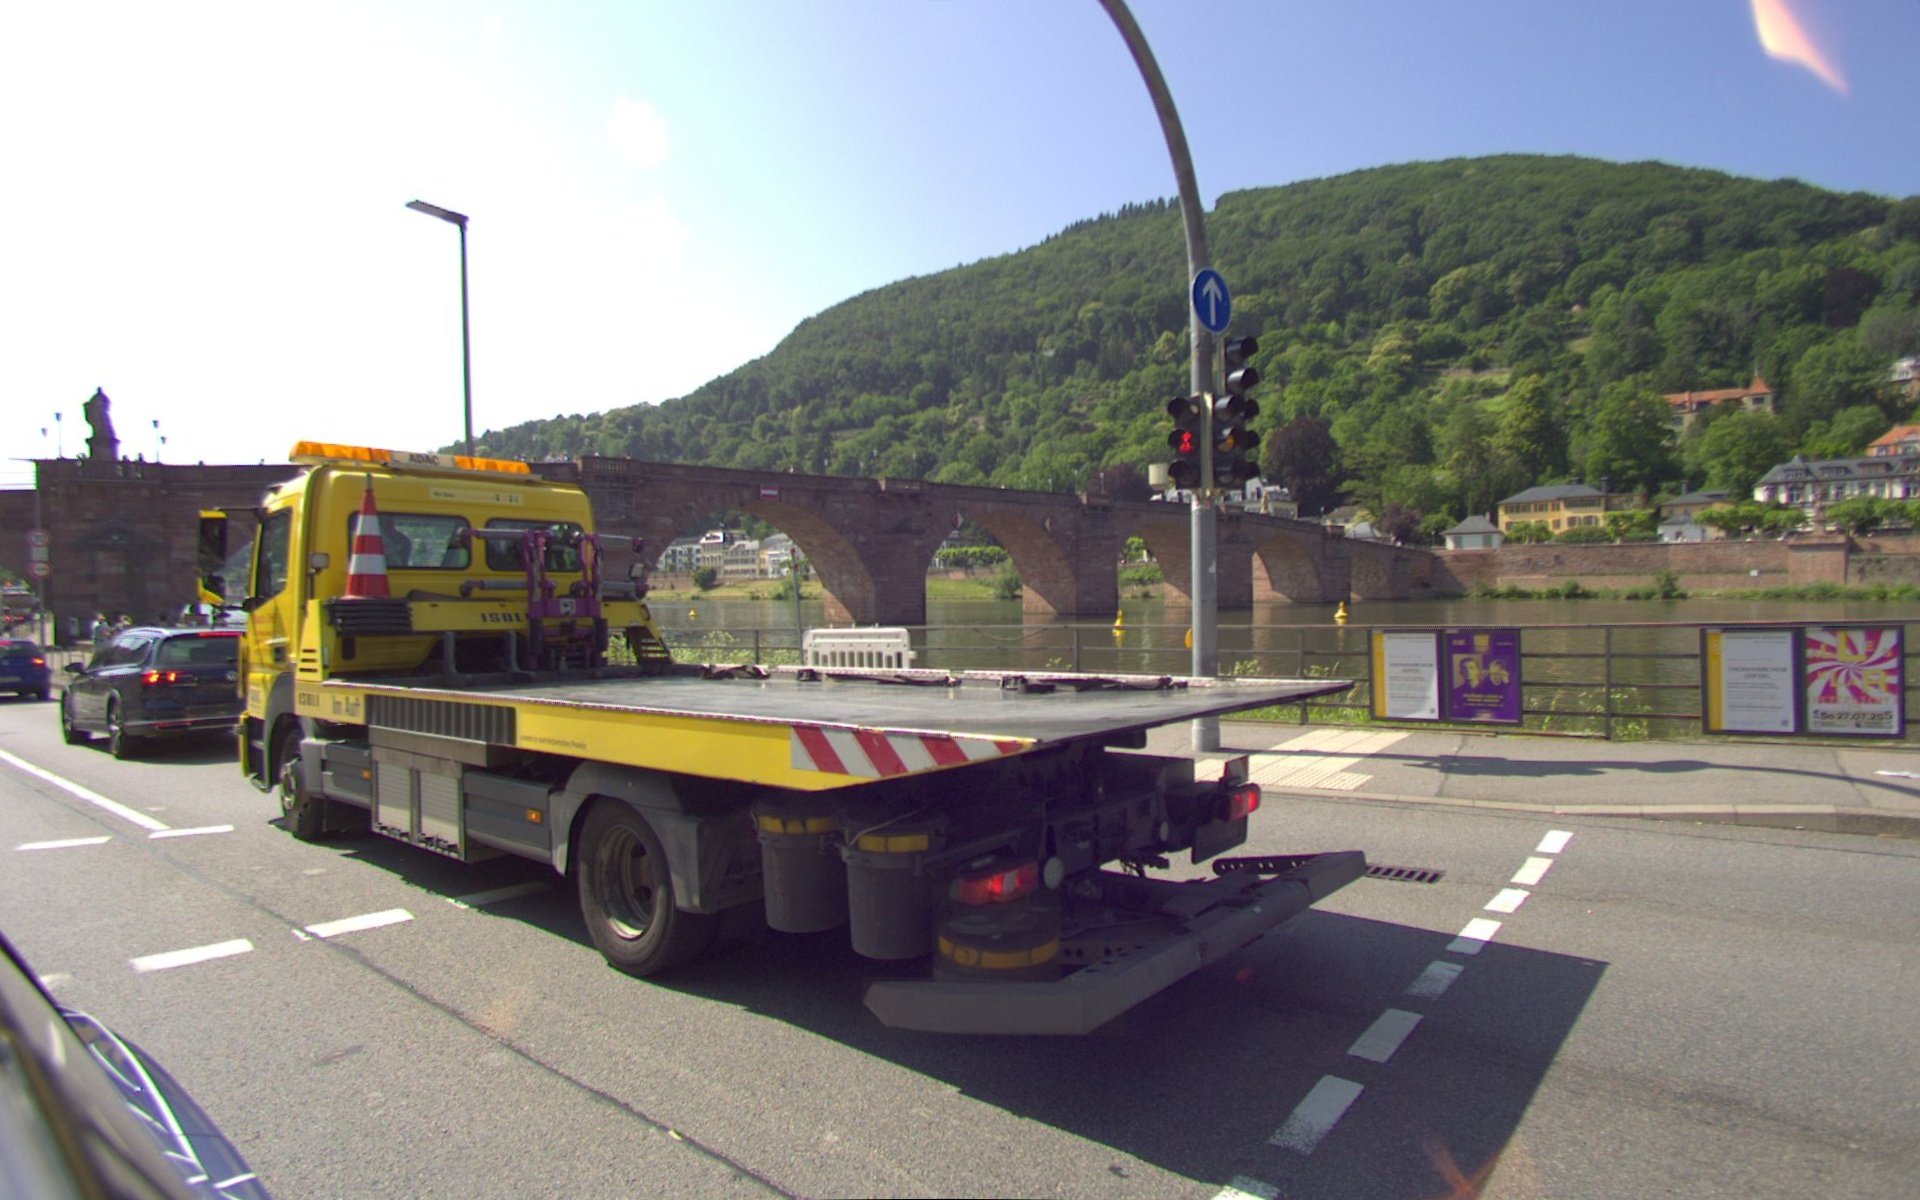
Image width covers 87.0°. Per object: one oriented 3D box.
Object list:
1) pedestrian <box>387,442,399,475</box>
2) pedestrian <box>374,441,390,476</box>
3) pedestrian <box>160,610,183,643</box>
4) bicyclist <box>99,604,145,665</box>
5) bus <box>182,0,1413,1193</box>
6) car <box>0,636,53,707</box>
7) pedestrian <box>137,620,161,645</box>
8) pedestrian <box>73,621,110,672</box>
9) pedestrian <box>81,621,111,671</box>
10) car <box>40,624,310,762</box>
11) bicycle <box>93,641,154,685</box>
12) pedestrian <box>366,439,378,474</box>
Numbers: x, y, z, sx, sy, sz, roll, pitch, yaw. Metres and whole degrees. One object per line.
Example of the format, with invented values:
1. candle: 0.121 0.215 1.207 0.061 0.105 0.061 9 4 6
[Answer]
1. pedestrian: -35.635 -8.895 63.651 0.639 2.029 0.461 1 1 41
2. pedestrian: -36.072 -8.820 63.156 0.625 2.029 0.686 1 1 40
3. pedestrian: -40.600 1.378 52.134 0.774 1.663 0.779 -2 1 43
4. bicyclist: -23.296 0.944 28.142 0.976 1.644 0.662 -1 1 32
5. bus: -2.078 0.089 6.207 8.440 2.918 2.570 -2 -1 40
6. car: -22.609 1.620 23.390 4.319 1.502 1.712 -2 -1 38
7. pedestrian: -41.661 1.681 51.971 1.026 1.239 0.779 -2 1 43
8. pedestrian: -30.272 1.612 35.289 0.538 1.735 0.755 -2 1 7
9. pedestrian: -32.167 1.691 37.682 0.513 1.806 0.824 -2 1 -19
10. car: -10.066 1.057 12.855 4.352 1.417 1.791 -2 -1 40
11. bicycle: -23.290 1.729 28.172 2.027 1.121 0.662 -1 2 32
12. pedestrian: -36.418 -8.881 62.681 0.639 2.029 0.461 1 1 41
